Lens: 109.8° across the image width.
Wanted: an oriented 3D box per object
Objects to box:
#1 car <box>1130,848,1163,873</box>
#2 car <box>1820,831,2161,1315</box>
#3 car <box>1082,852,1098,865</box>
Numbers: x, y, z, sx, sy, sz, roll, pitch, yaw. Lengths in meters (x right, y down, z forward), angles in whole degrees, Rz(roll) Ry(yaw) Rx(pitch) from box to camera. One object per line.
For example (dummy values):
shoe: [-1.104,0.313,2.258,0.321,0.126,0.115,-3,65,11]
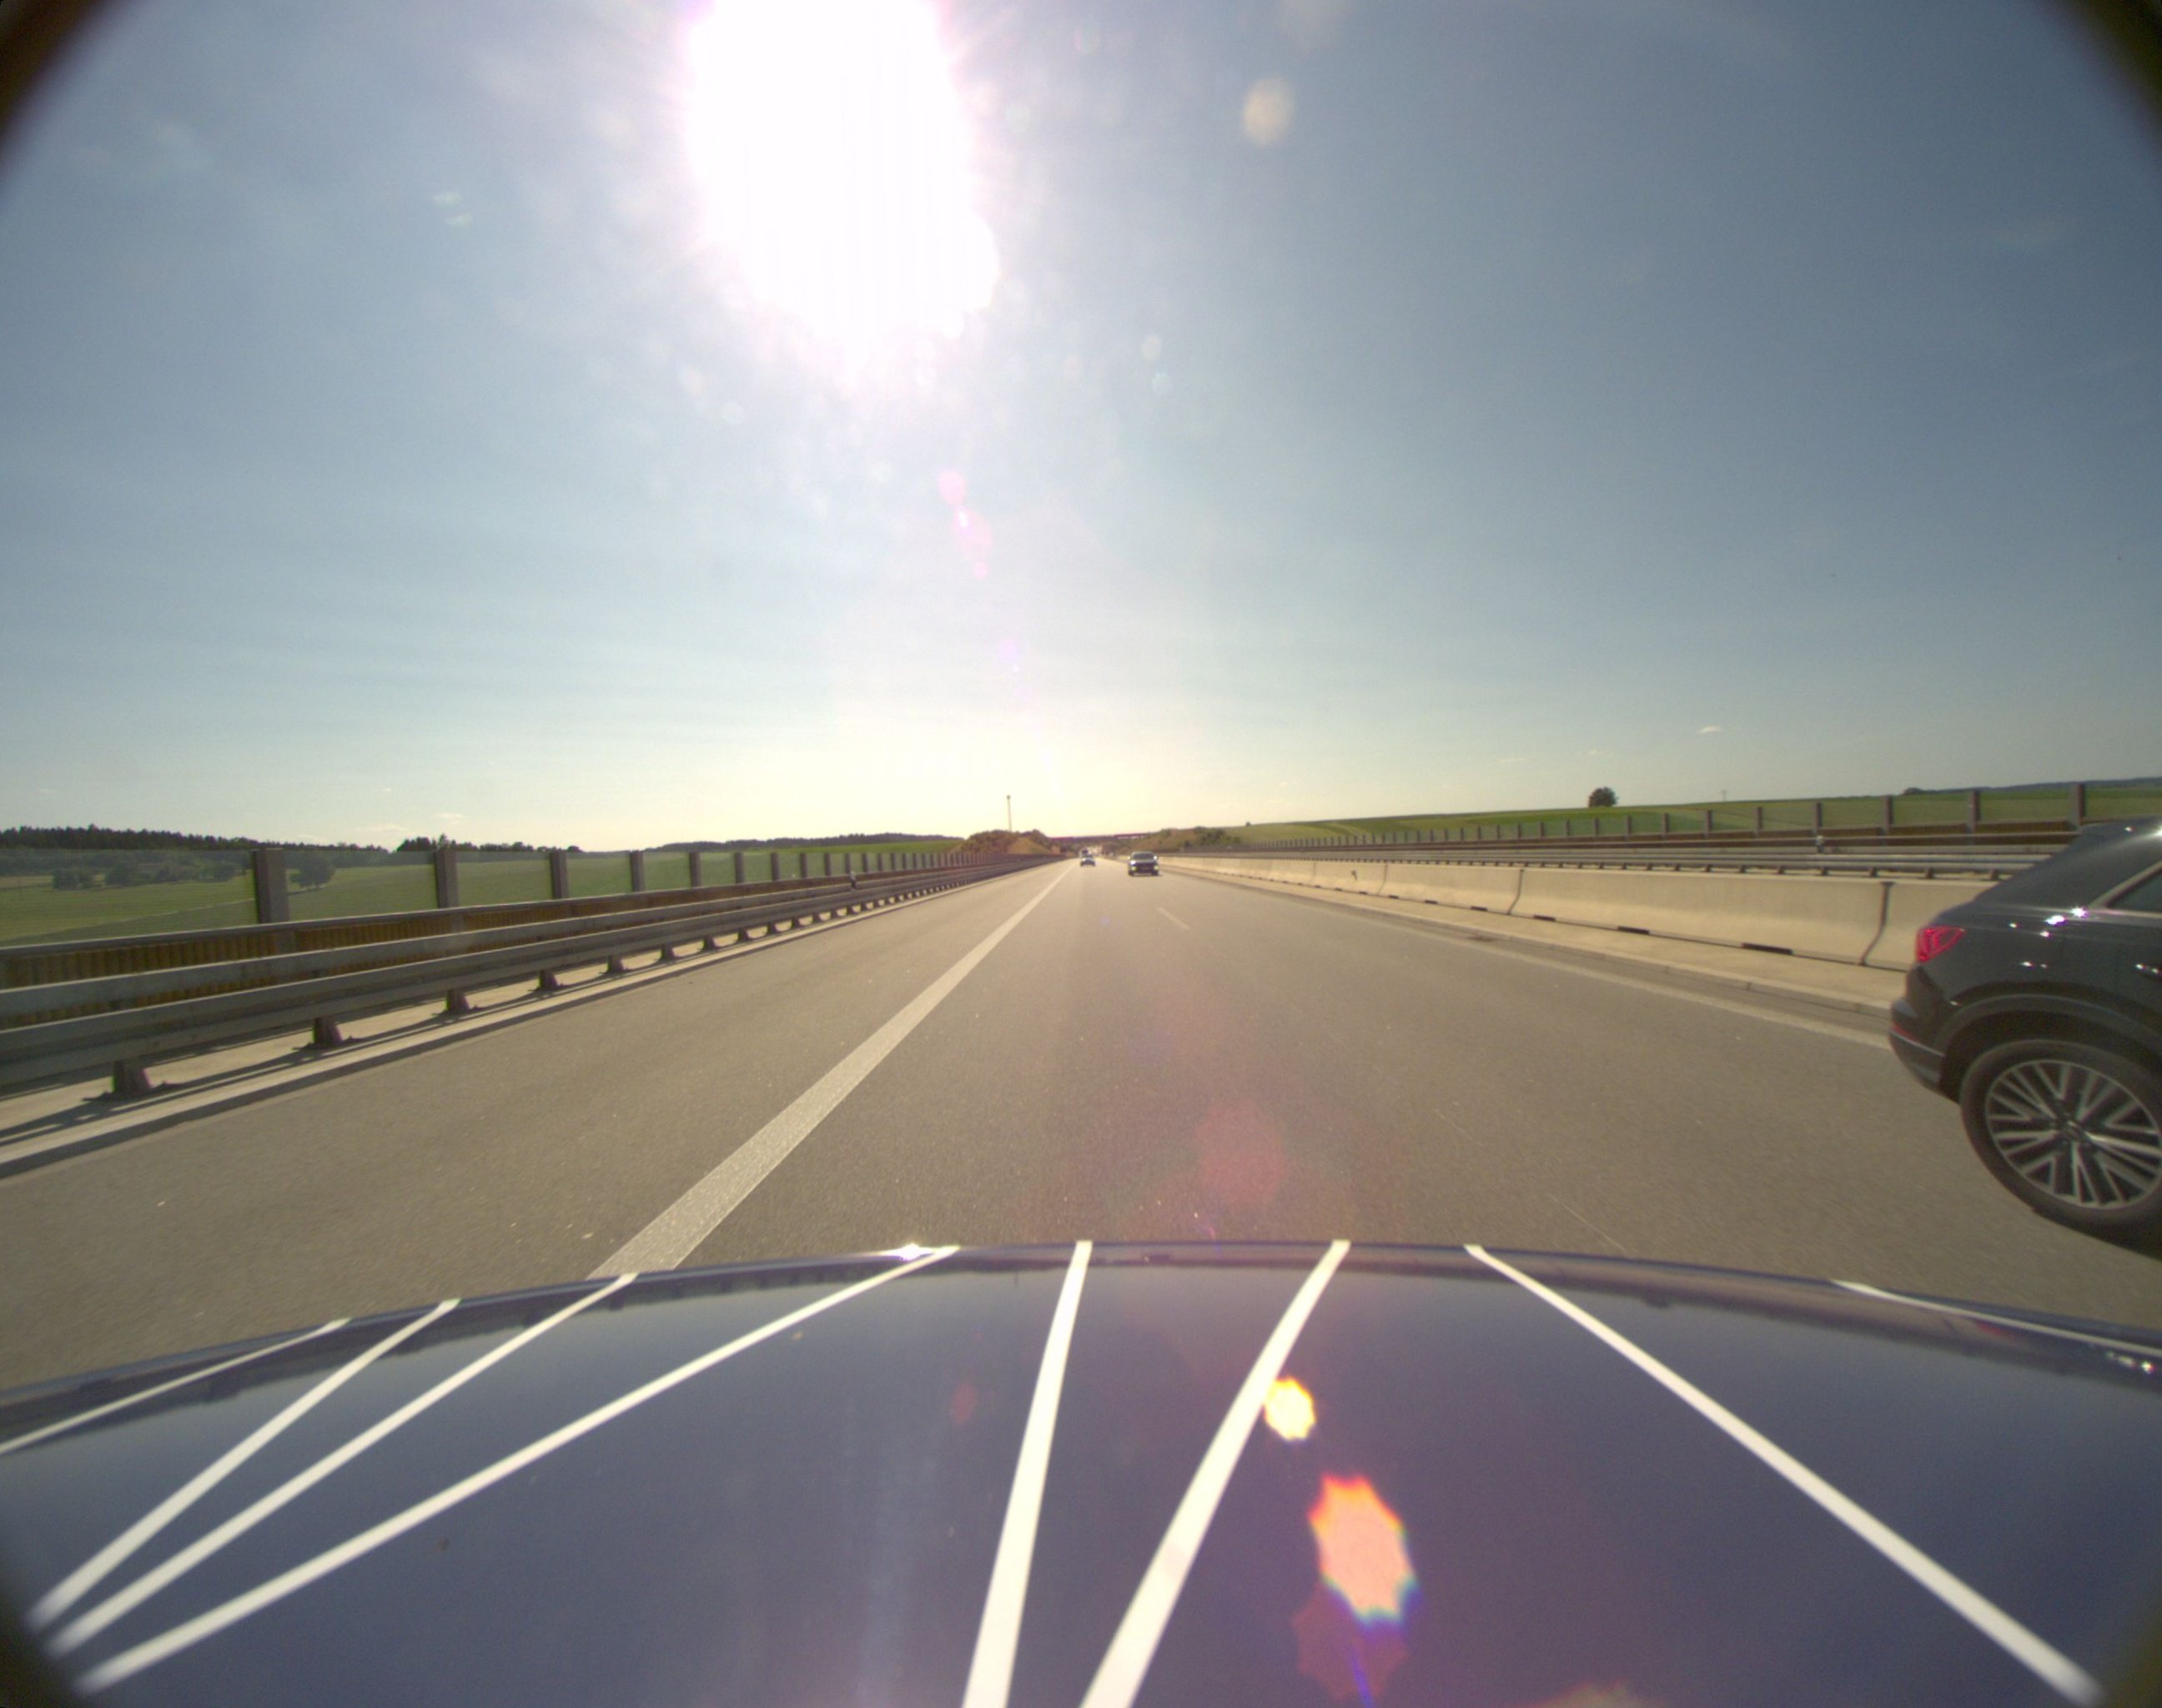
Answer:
car: [4.262,0.385,50.072,1.776,1.560,4.988,-2,1,1]
car: [4.404,0.728,1.053,1.726,1.578,5.222,-2,1,1]
car: [1.132,0.579,95.480,1.909,1.449,4.375,-2,1,2]
